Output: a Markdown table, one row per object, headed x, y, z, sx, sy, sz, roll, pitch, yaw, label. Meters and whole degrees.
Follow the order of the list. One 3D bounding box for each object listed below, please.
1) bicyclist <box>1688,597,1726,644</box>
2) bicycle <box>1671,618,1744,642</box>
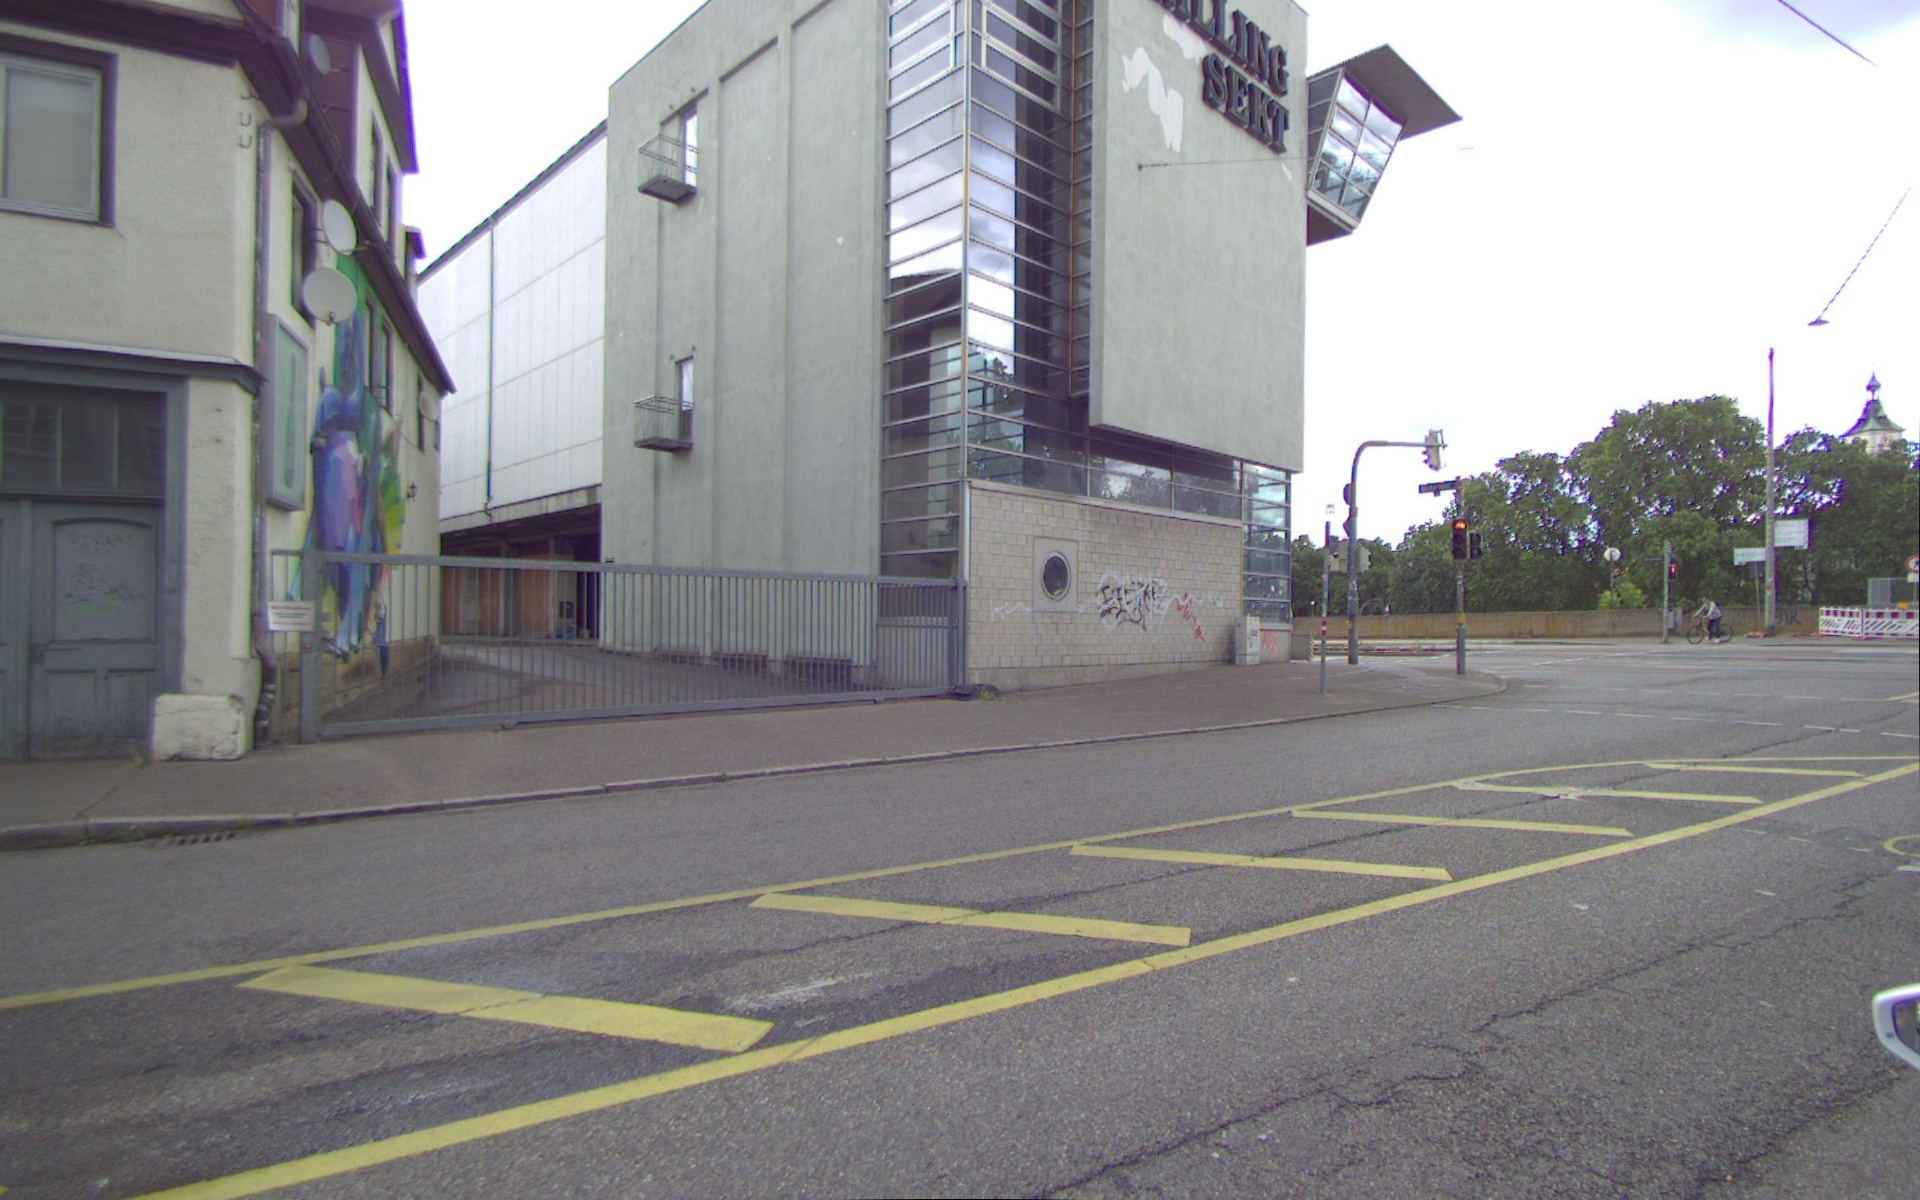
| x | y | z | sx | sy | sz | roll | pitch | yaw | label |
| --- | --- | --- | --- | --- | --- | --- | --- | --- | --- |
| 28.772 | 0.784 | 38.705 | 0.985 | 1.767 | 0.755 | 0 | 0 | 19 | bicyclist |
| 28.780 | 1.153 | 38.710 | 2.095 | 0.904 | 0.760 | -1 | 0 | 17 | bicycle |
